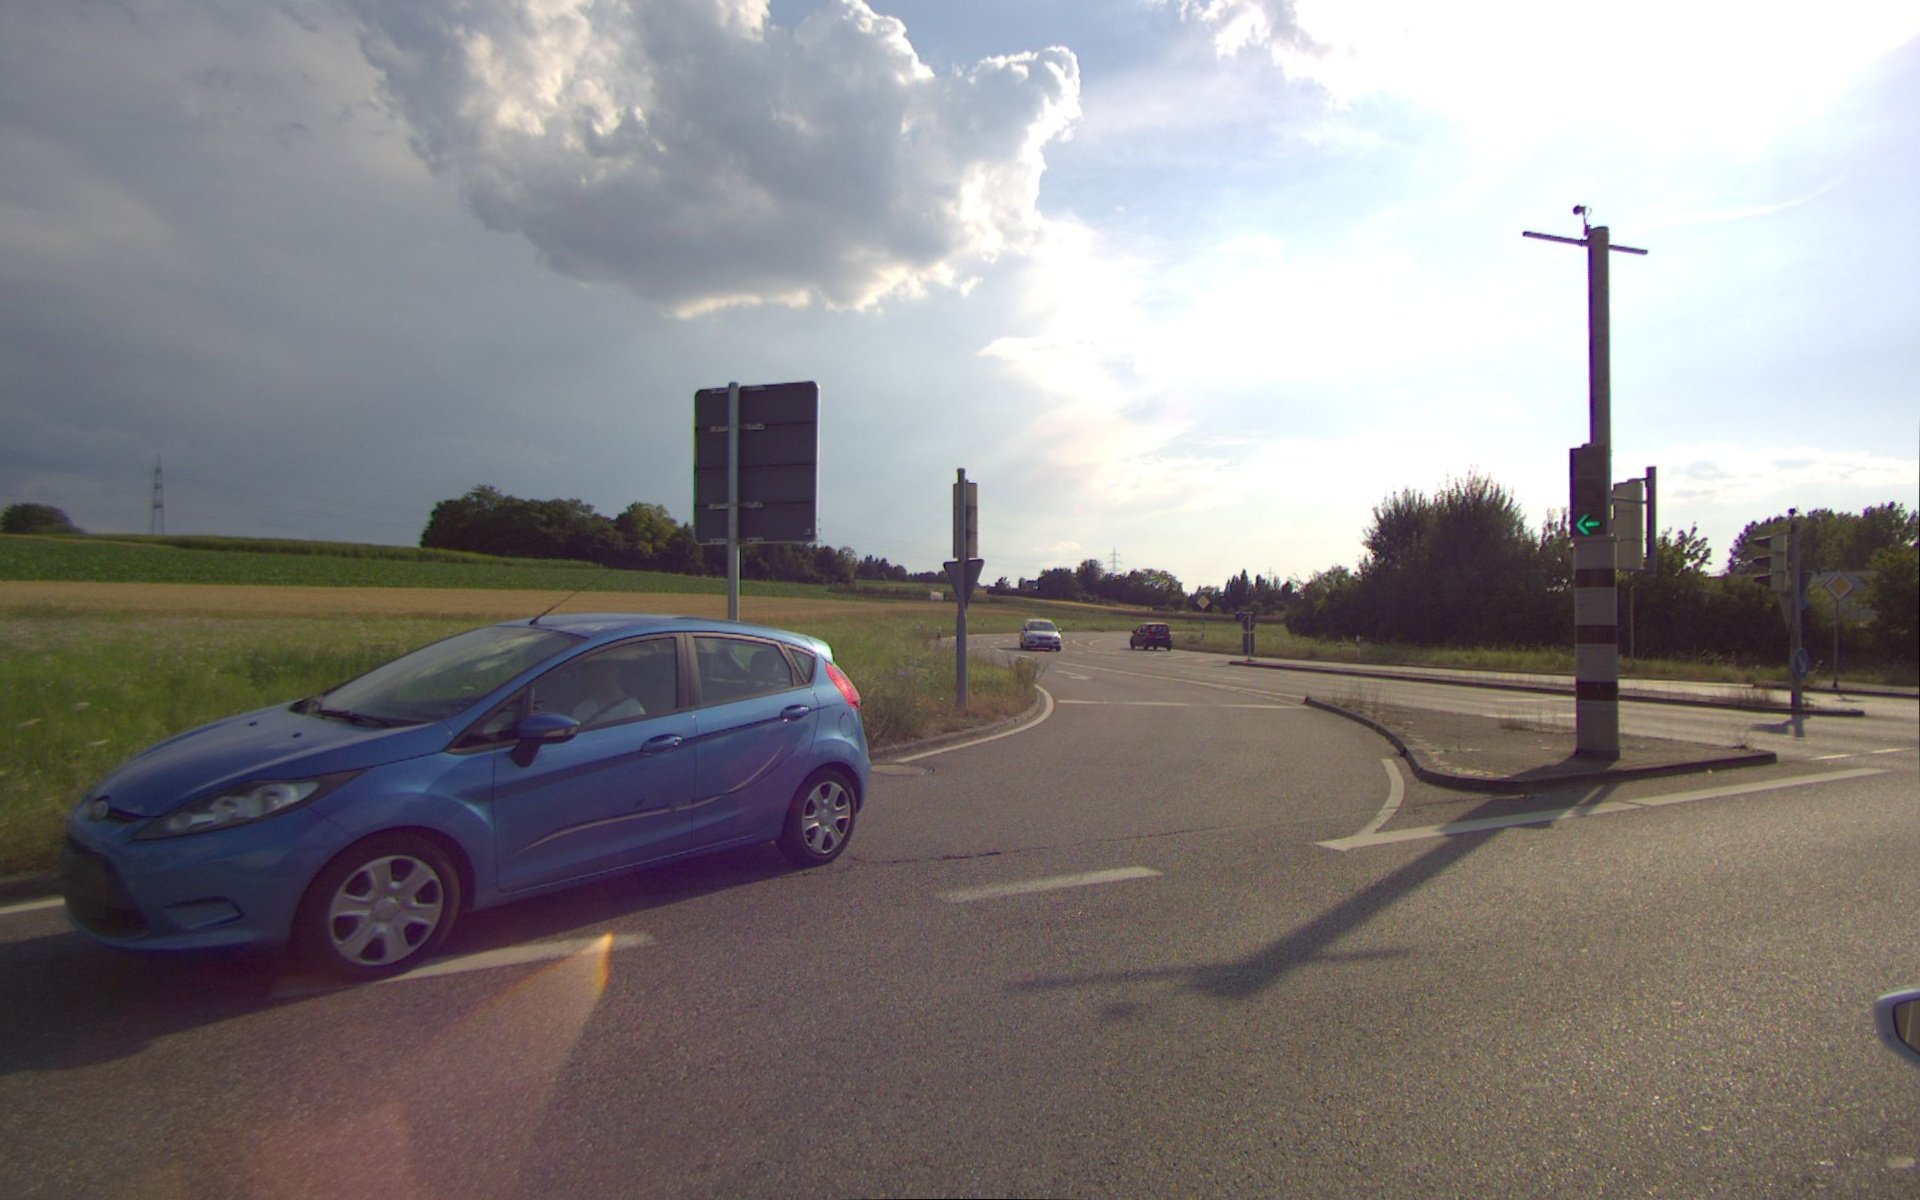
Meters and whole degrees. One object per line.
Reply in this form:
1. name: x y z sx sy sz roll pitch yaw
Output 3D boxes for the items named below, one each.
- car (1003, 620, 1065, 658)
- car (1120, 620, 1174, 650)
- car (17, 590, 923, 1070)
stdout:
1. car: 3.602 1.876 49.809 1.789 1.549 4.341 2 1 -13
2. car: 10.605 1.977 57.252 1.698 1.520 3.848 2 0 -11
3. car: -2.083 0.767 5.328 1.736 1.521 3.987 0 -1 35
